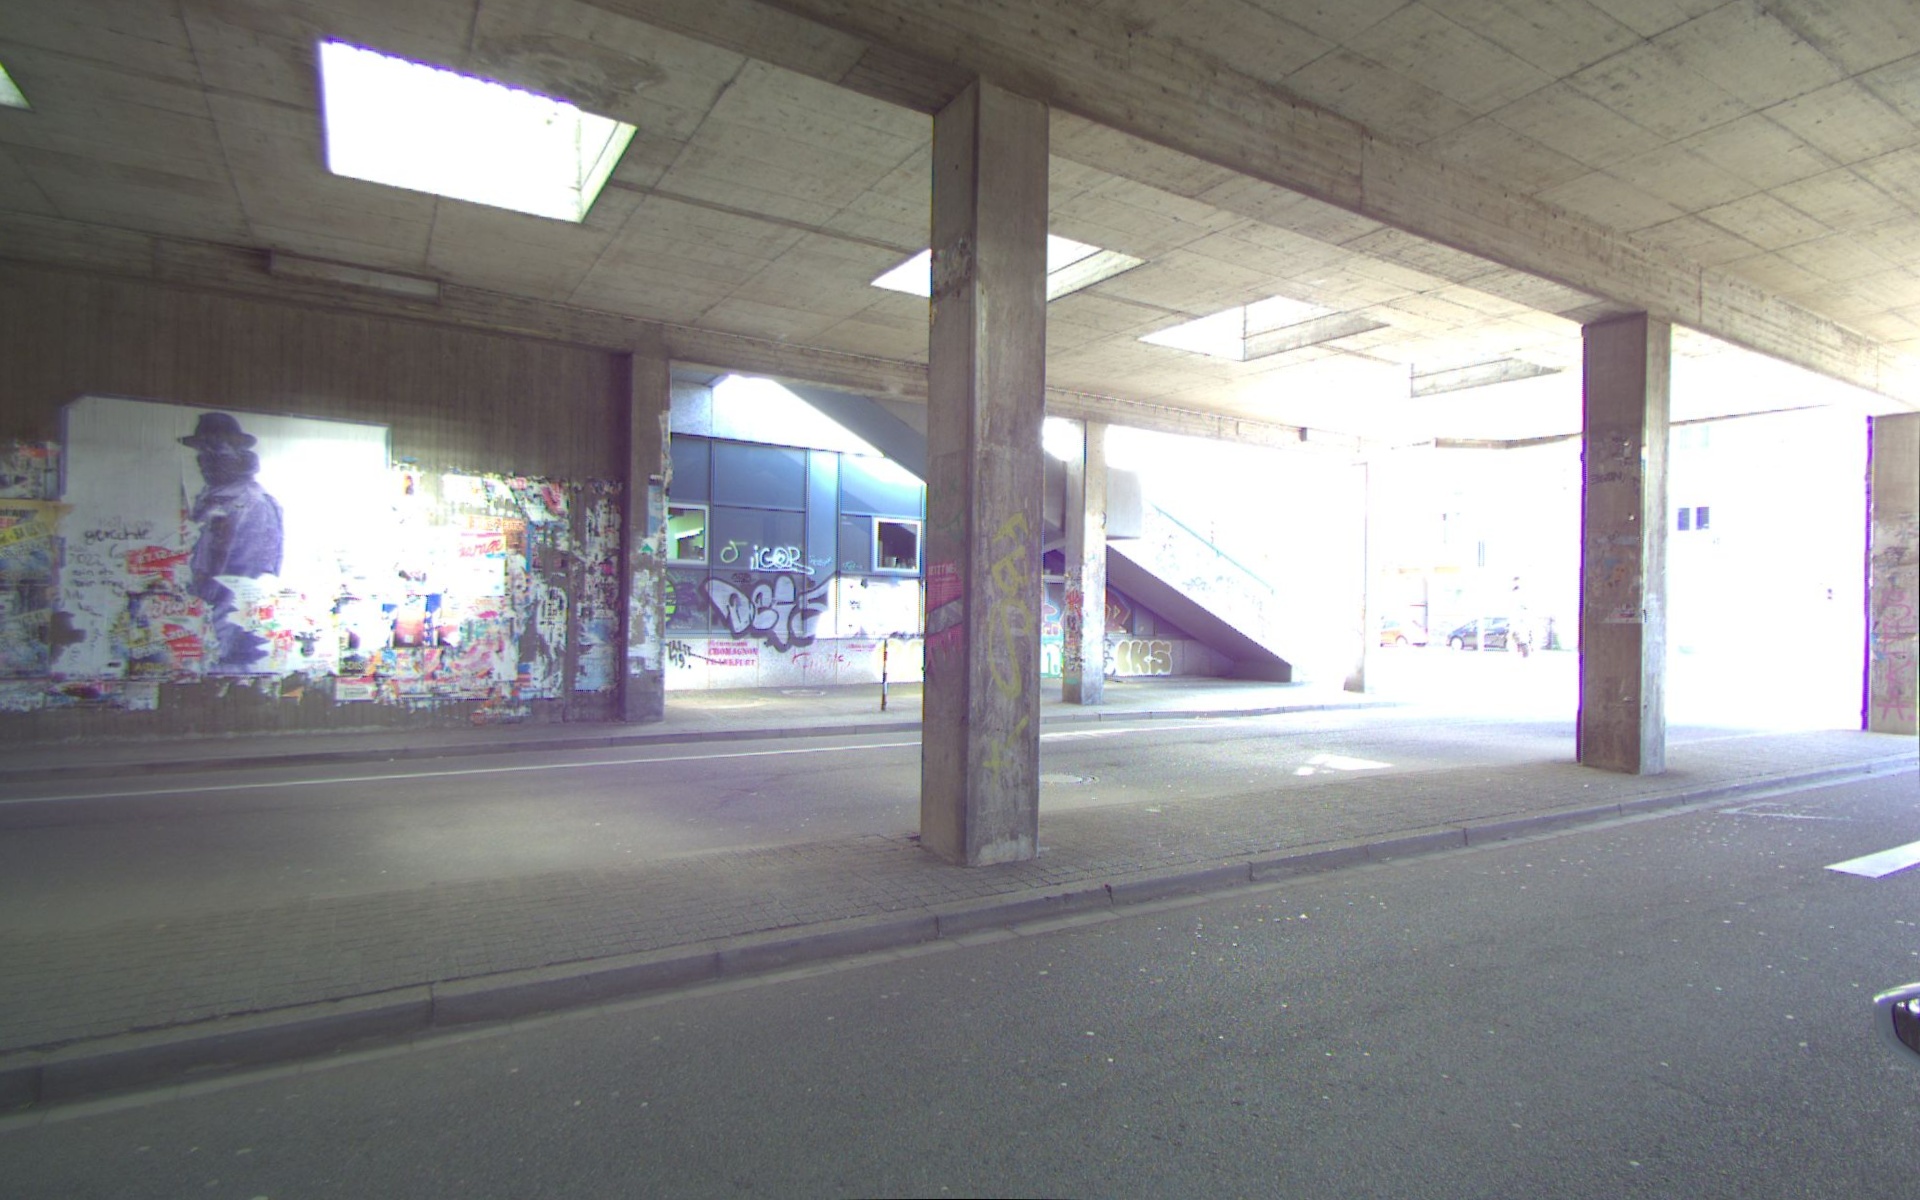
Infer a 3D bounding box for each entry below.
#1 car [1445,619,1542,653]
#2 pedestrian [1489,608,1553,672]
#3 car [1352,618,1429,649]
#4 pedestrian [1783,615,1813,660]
[{"bbox_3d":[25.336,1.678,47.825,1.732,1.528,3.735,1,-1,-31],"label":"car"},{"bbox_3d":[15.792,1.119,28.307,1.123,1.760,1.111,1,-1,-17],"label":"pedestrian"},{"bbox_3d":[22.442,1.729,52.508,1.543,1.526,3.518,1,-1,-29],"label":"car"},{"bbox_3d":[32.572,1.444,39.035,0.618,1.727,0.717,2,0,-32],"label":"pedestrian"}]
